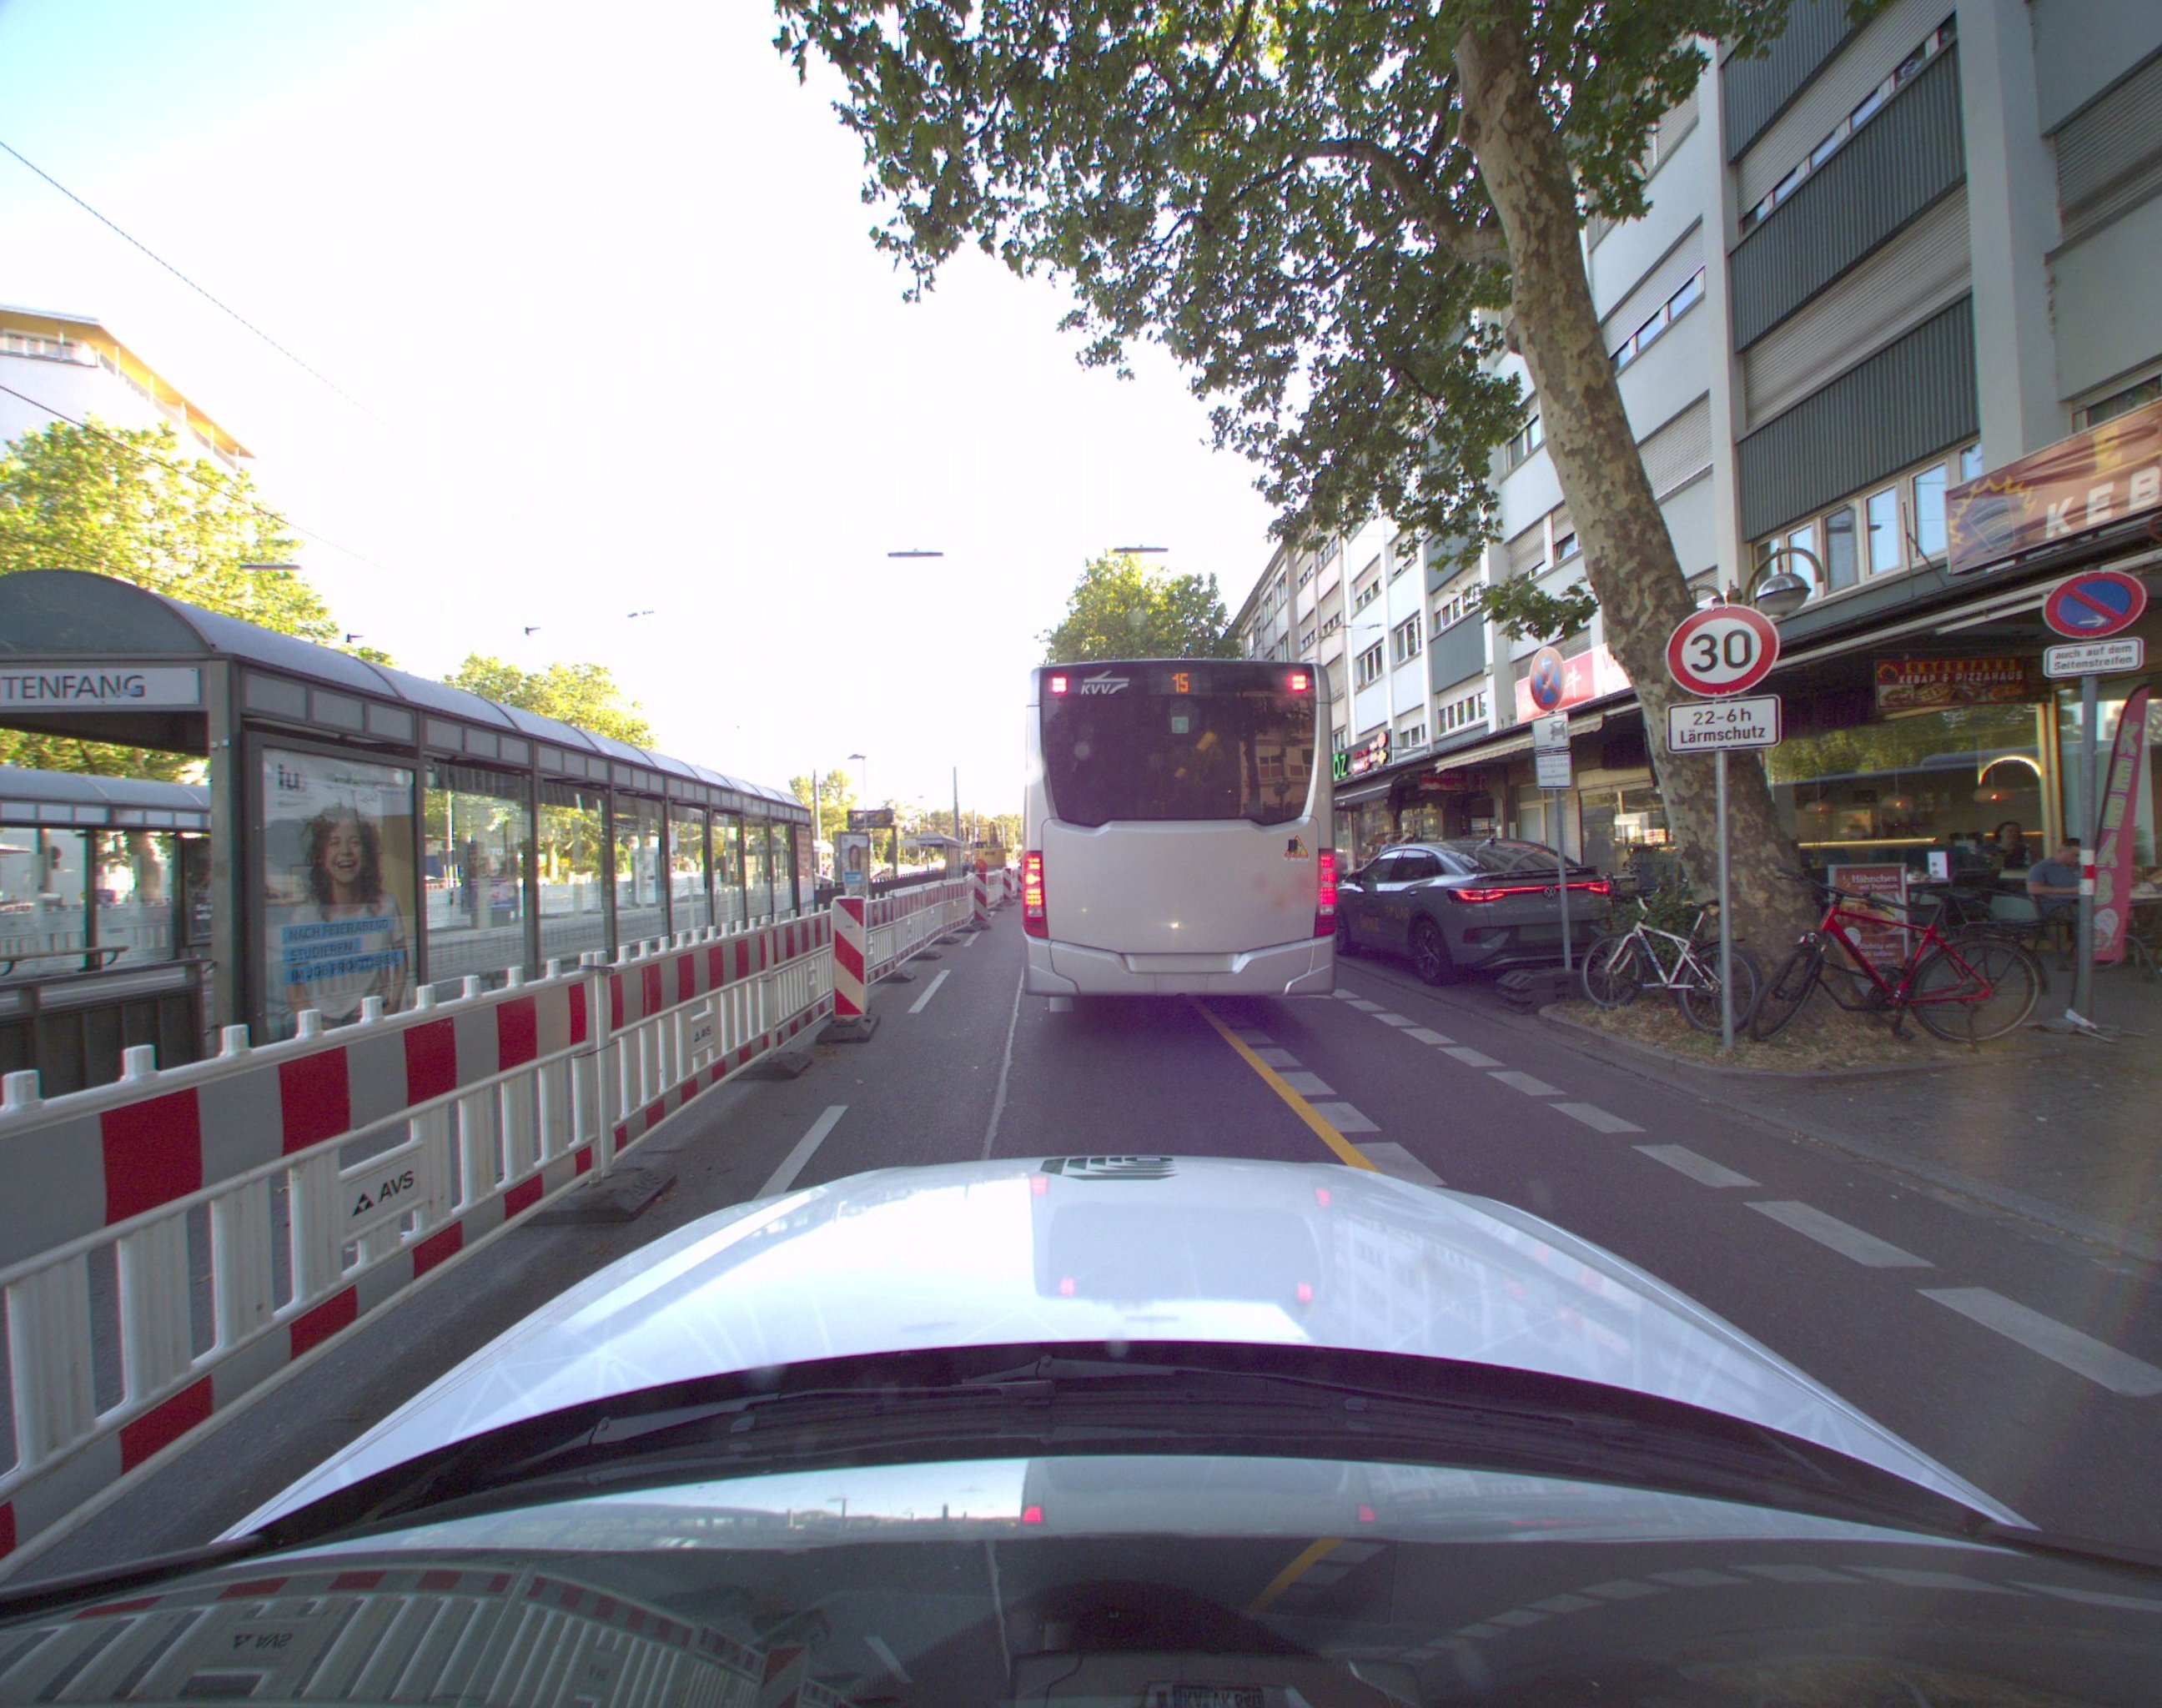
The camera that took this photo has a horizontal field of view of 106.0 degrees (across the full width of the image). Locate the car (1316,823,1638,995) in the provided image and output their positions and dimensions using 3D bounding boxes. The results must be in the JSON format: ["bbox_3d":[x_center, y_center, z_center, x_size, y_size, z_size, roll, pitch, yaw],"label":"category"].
[{"bbox_3d":[4.604,0.560,10.317,1.736,1.597,4.294,-4,0,-3],"label":"car"}]

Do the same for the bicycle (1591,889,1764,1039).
[{"bbox_3d":[4.482,0.785,6.193,0.294,0.927,1.127,-6,2,-8],"label":"bicycle"}]

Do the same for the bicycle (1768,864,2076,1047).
[{"bbox_3d":[5.495,0.674,5.374,1.450,1.066,0.297,-6,2,13],"label":"bicycle"}]

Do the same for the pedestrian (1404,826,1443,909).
[{"bbox_3d":[8.520,0.340,20.297,0.610,2.014,0.696,-2,-1,1],"label":"pedestrian"}]

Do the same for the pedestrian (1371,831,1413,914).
[{"bbox_3d":[7.720,0.448,20.229,0.689,2.014,0.696,-2,-1,-1],"label":"pedestrian"}]

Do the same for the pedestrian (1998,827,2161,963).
[{"bbox_3d":[9.624,0.384,7.851,0.673,1.203,0.706,-5,-1,11],"label":"pedestrian"}]

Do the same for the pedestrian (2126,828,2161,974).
[{"bbox_3d":[9.562,0.388,6.814,0.612,1.243,0.714,-5,-1,11],"label":"pedestrian"}]

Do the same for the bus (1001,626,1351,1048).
[{"bbox_3d":[0.918,-0.124,11.365,2.598,3.170,10.297,-1,0,2],"label":"bus"}]

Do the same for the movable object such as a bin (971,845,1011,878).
[{"bbox_3d":[-7.046,0.594,64.011,2.800,2.462,3.995,-2,0,-3],"label":"movable object such as a bin"}]
